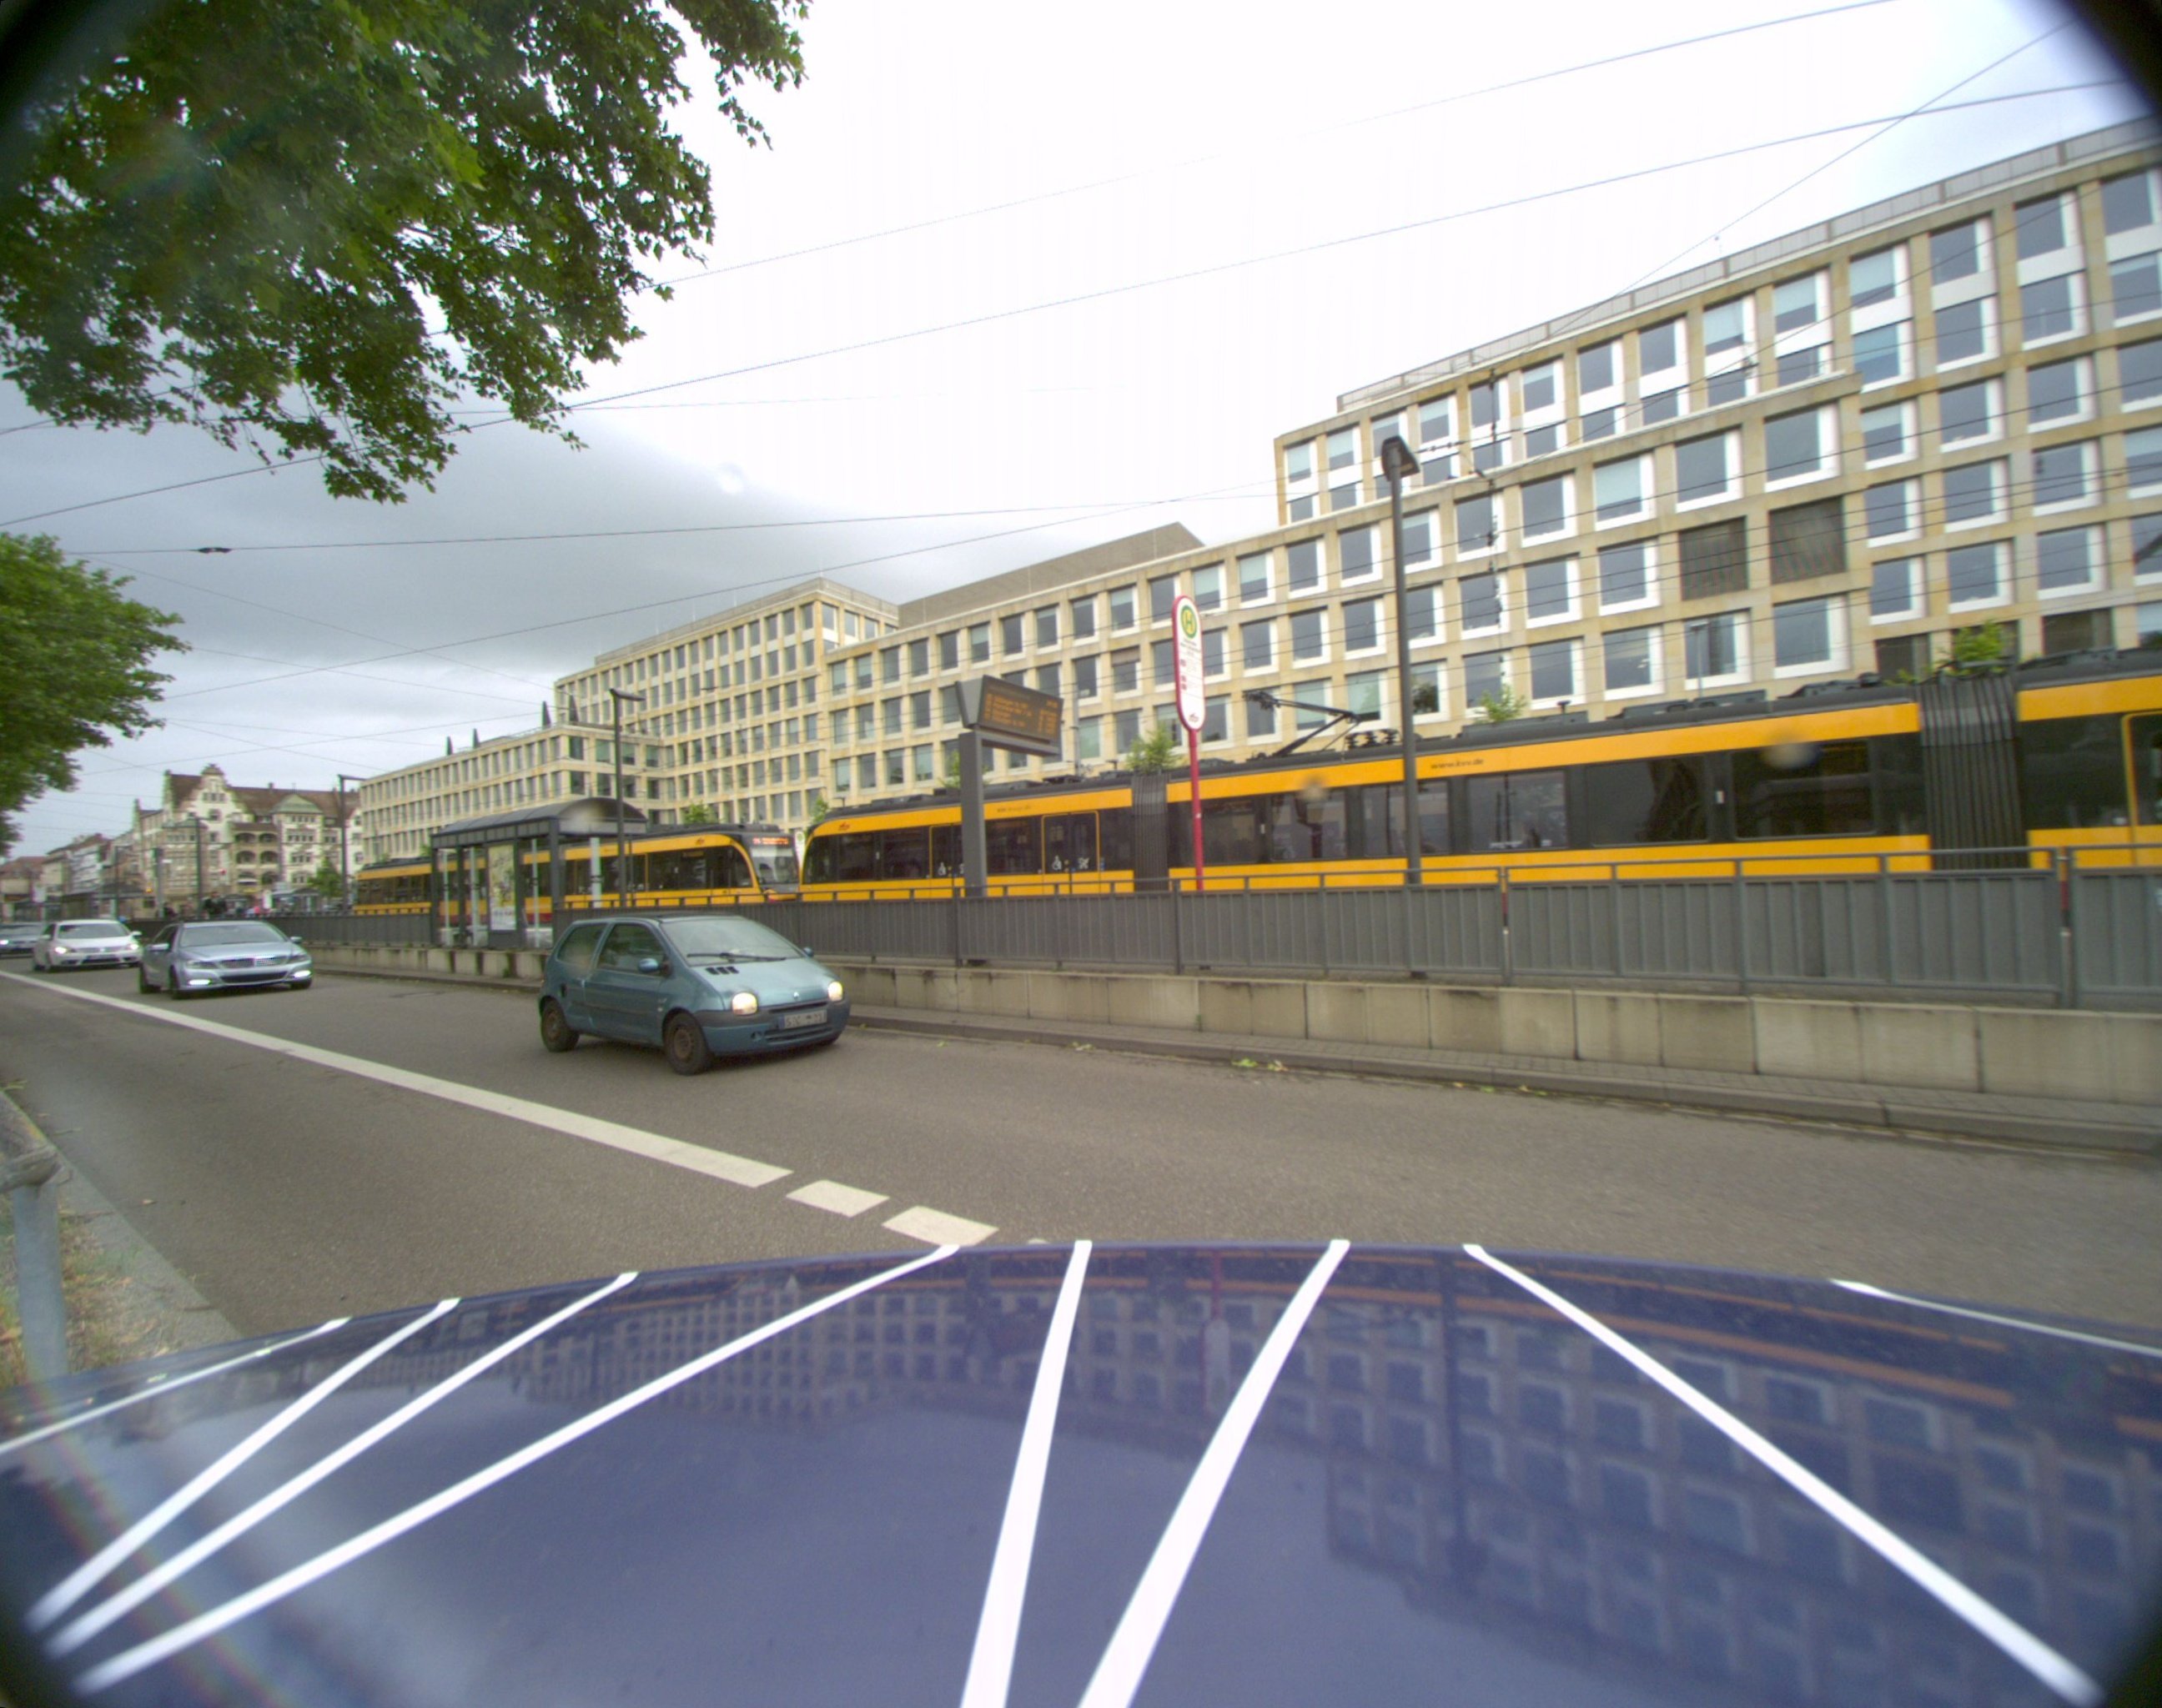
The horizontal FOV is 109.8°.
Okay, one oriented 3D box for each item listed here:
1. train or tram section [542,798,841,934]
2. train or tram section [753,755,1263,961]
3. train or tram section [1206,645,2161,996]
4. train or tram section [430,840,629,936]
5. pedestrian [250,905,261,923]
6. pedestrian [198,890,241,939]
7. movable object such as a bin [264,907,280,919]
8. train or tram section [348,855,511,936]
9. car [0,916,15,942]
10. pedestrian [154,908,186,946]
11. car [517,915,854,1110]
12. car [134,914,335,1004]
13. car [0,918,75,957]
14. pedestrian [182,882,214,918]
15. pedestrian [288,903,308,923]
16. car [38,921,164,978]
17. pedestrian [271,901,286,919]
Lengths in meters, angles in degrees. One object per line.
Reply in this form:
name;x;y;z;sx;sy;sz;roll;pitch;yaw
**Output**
train or tram section;-14.821;0.634;28.051;13.585;4.153;3.197;-3;-1;32
train or tram section;-2.828;0.368;20.583;14.695;4.153;3.197;-3;-1;32
train or tram section;9.673;-0.214;12.793;14.695;4.153;3.197;-3;-1;32
train or tram section;-25.250;1.569;34.498;11.282;3.838;3.180;-3;-1;32
pedestrian;-73.078;5.295;67.256;0.564;1.597;0.538;-2;-1;38
pedestrian;-37.135;2.586;32.746;0.838;2.001;1.064;-2;-1;32
movable object such as a bin;-71.519;5.182;67.133;0.722;1.015;0.621;-2;-1;-1
train or tram section;-34.867;2.195;40.480;11.282;3.838;3.255;-3;-1;32
car;-66.013;4.551;45.626;4.089;1.443;2.004;-3;-1;32
pedestrian;-44.839;3.602;37.407;1.110;1.782;0.673;-2;-1;23
car;-4.048;1.401;7.666;3.344;1.463;1.539;-3;-2;33
car;-17.144;2.010;15.363;4.089;1.443;2.004;-3;-1;32
car;-46.234;3.632;33.406;4.089;1.443;2.004;-3;-1;32
pedestrian;-45.360;2.358;39.043;1.111;1.782;0.673;-2;-1;19
pedestrian;-68.674;5.136;66.639;0.937;1.676;1.044;-2;-1;35
car;-31.008;2.949;24.021;4.089;1.443;2.004;-3;-1;32
pedestrian;-71.528;4.999;67.749;0.657;1.597;0.579;-2;0;-1
